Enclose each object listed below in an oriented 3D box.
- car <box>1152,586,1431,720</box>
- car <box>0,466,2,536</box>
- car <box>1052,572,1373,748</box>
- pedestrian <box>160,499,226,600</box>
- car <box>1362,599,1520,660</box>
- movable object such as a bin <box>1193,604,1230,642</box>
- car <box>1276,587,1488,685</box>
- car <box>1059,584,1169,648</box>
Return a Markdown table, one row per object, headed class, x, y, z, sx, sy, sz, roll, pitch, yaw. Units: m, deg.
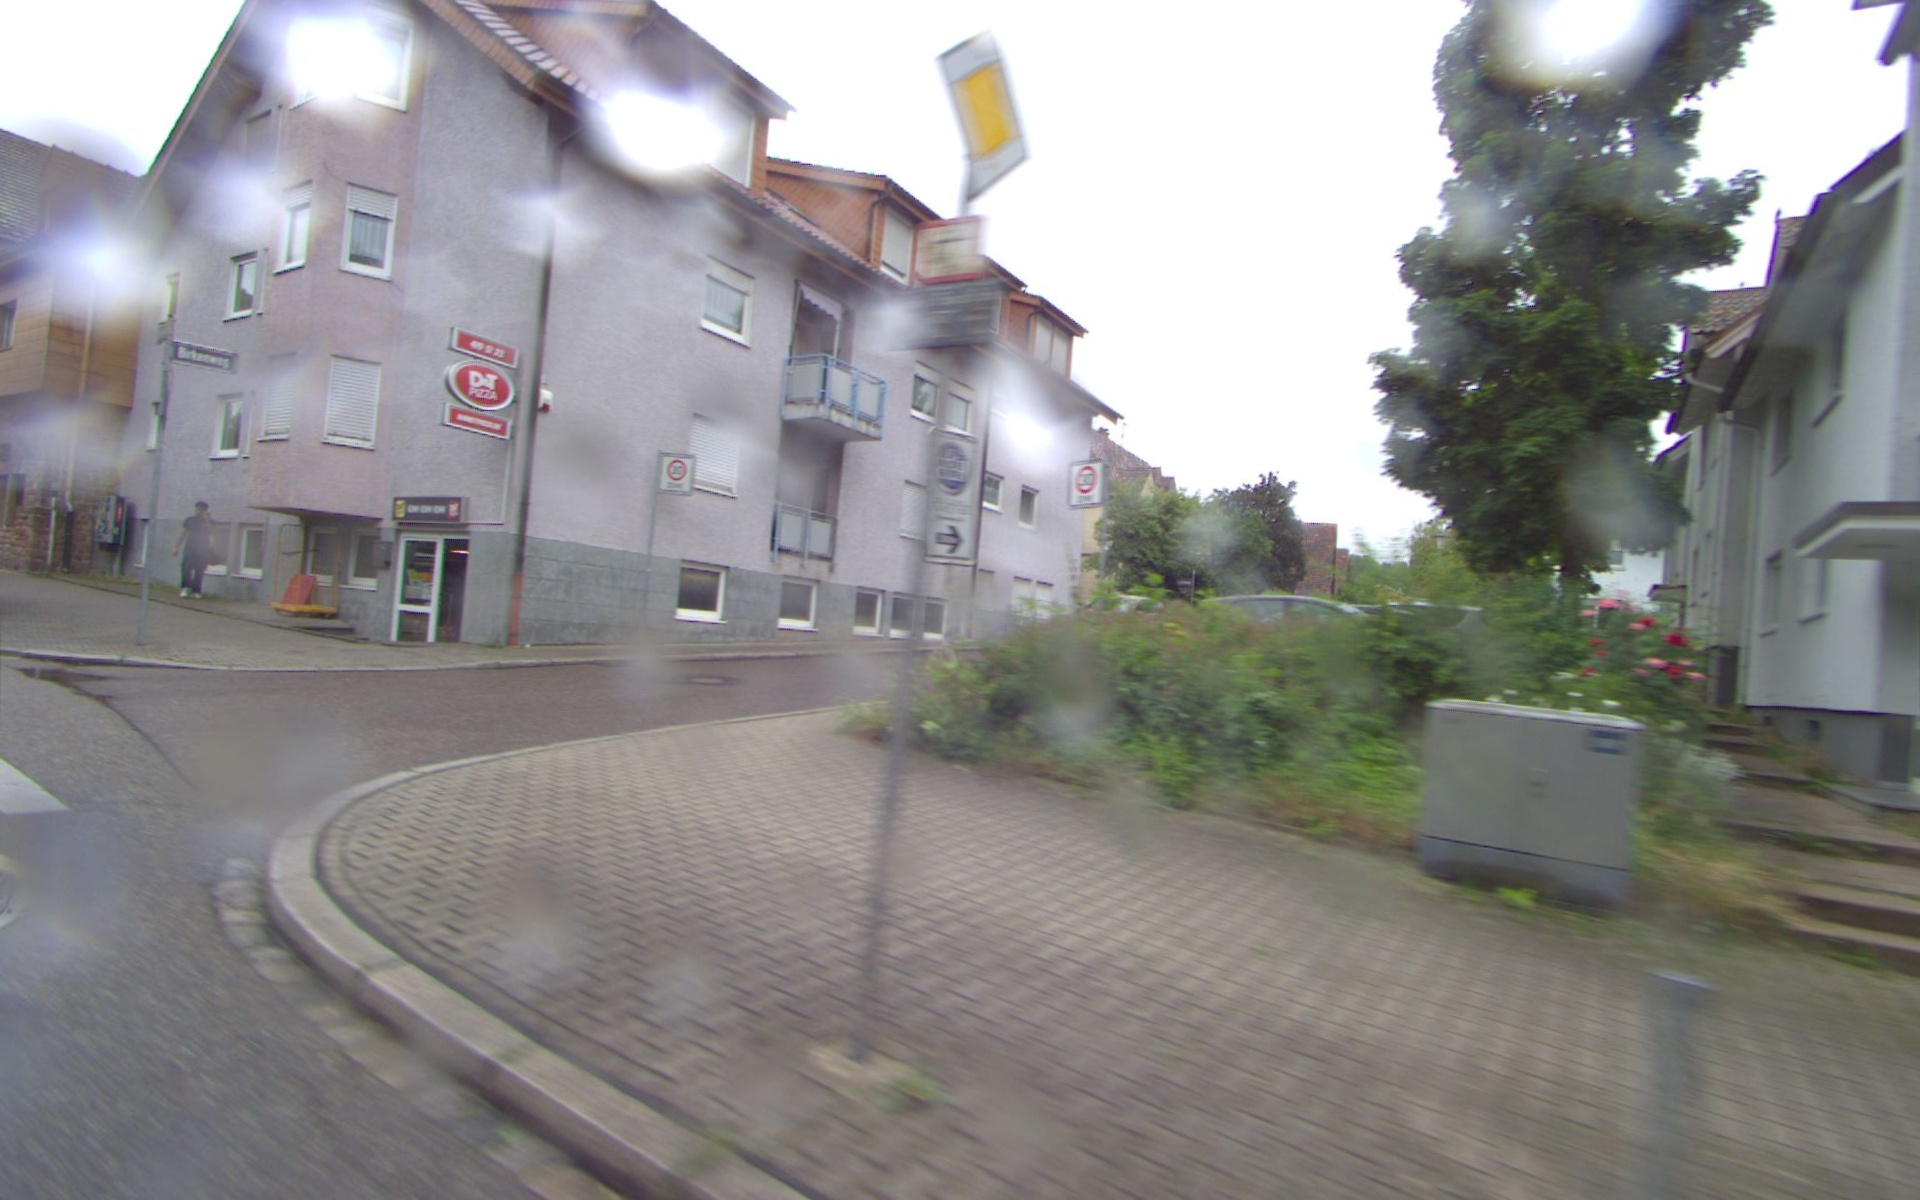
| class | x | y | z | sx | sy | sz | roll | pitch | yaw |
| --- | --- | --- | --- | --- | --- | --- | --- | --- | --- |
| car | 4.862 | 0.691 | 14.906 | 3.544 | 1.605 | 1.643 | 4 | 2 | 34 |
| car | -14.838 | -0.965 | 13.924 | 4.696 | 1.917 | 1.921 | 5 | 2 | 42 |
| car | 3.276 | 0.689 | 13.294 | 3.615 | 1.707 | 1.679 | 8 | 3 | 35 |
| pedestrian | -14.250 | -0.937 | 18.704 | 0.658 | 1.777 | 0.690 | 7 | 2 | 32 |
| car | 15.339 | 0.903 | 32.137 | 4.373 | 1.710 | 1.709 | 2 | 1 | 31 |
| movable object such as a bin | 10.454 | 0.946 | 41.827 | 1.039 | 1.364 | 1.132 | 8 | -1 | 32 |
| car | 8.869 | 0.703 | 21.213 | 3.836 | 1.707 | 1.644 | 4 | 2 | 31 |
| car | 4.594 | 0.468 | 29.640 | 1.737 | 1.585 | 3.611 | 8 | 3 | 33 |
